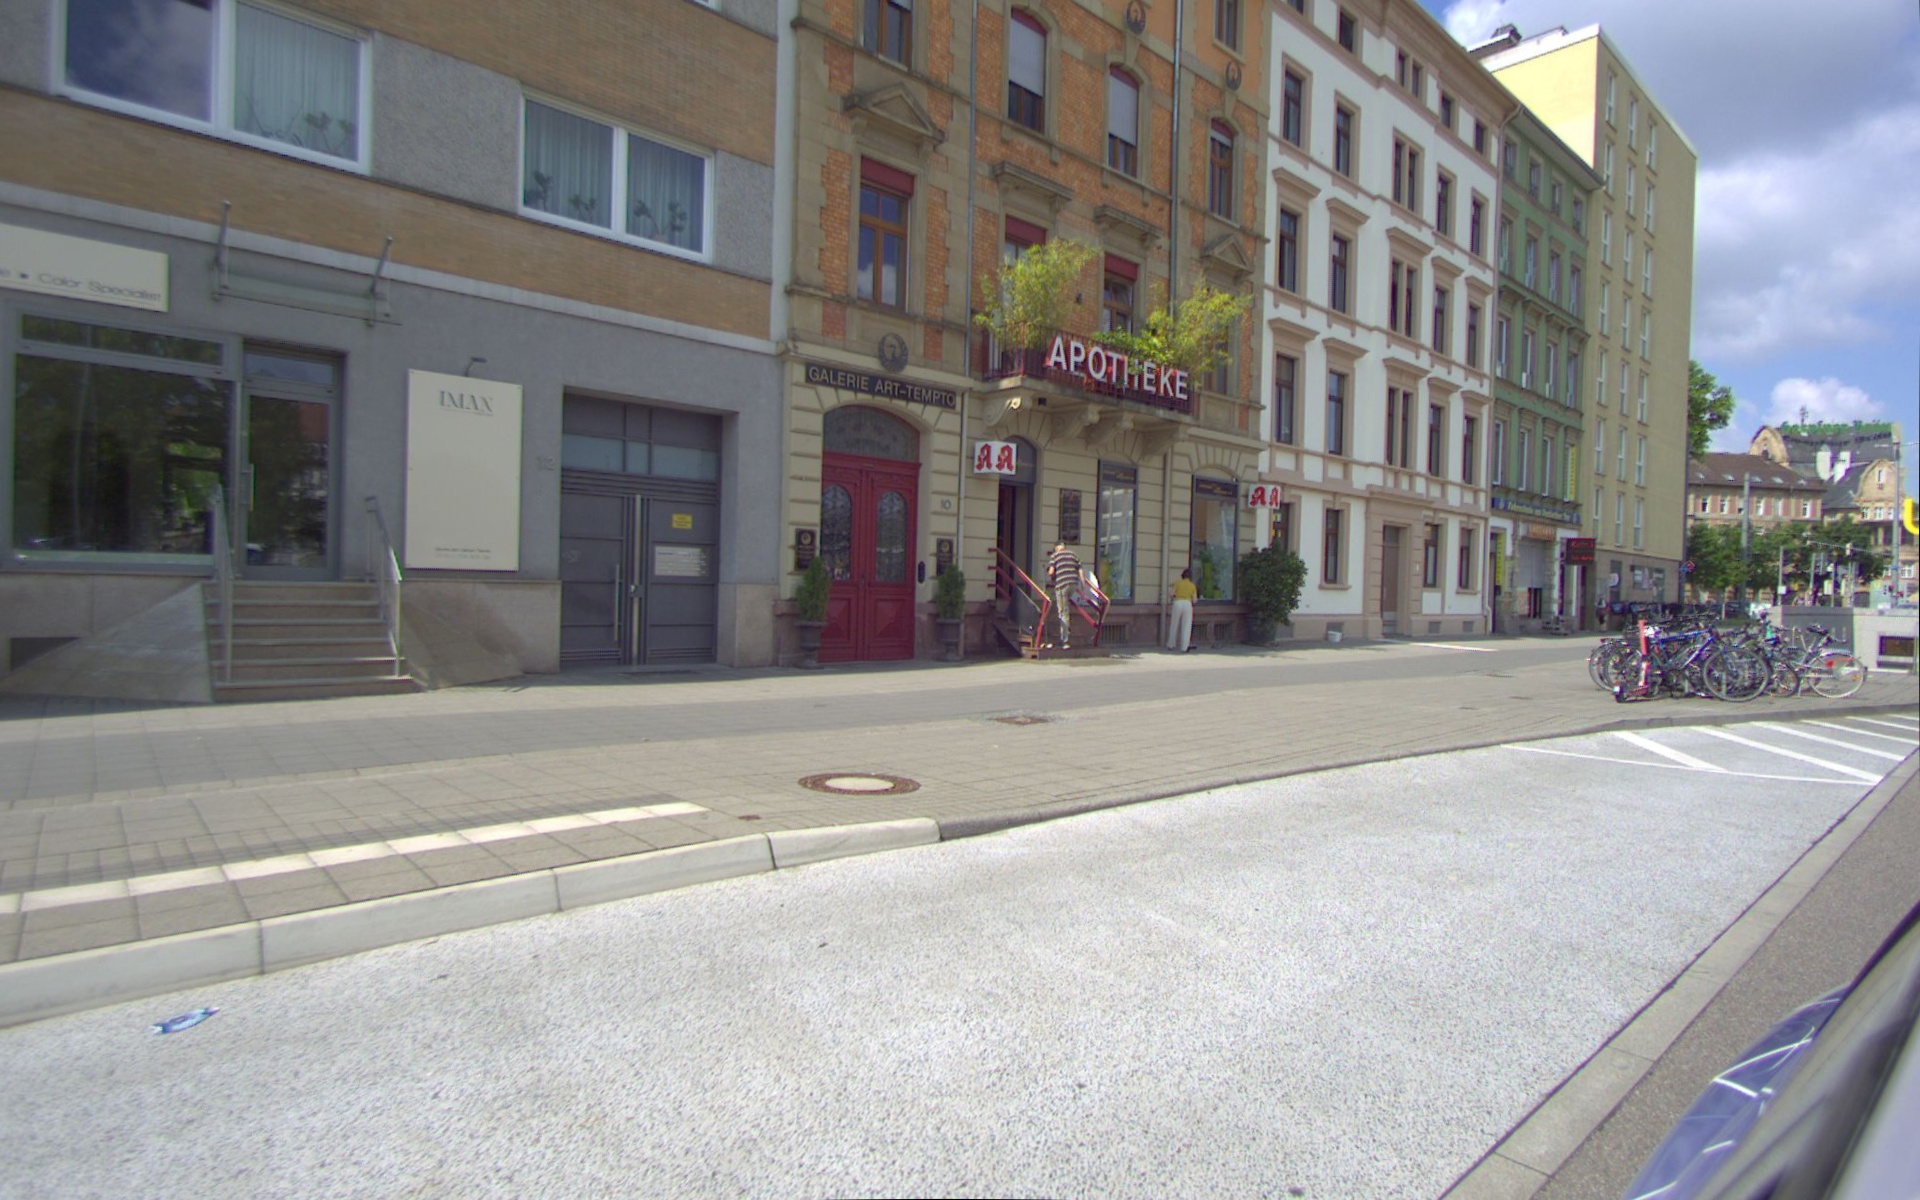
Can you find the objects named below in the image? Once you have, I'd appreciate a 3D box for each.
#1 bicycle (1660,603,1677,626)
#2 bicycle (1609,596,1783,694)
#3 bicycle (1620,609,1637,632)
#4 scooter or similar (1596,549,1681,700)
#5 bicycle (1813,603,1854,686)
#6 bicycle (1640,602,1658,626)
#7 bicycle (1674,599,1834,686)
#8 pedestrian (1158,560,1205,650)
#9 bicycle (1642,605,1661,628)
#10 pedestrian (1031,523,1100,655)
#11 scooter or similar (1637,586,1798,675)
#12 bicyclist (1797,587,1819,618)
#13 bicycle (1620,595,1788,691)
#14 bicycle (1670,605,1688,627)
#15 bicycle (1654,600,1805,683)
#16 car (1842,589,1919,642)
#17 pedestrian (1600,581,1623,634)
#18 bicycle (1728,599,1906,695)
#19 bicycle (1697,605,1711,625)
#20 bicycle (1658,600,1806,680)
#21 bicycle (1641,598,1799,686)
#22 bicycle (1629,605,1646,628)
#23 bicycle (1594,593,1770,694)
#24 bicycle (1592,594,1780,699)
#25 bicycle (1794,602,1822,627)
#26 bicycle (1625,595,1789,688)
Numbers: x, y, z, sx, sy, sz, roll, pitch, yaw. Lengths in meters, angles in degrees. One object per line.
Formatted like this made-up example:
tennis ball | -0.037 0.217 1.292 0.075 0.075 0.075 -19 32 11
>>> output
bicycle | 30.167 0.603 43.093 1.440 0.934 0.292 3 -1 -44
bicycle | 10.385 0.604 14.330 1.924 1.253 0.434 2 -1 44
bicycle | 27.712 0.867 41.949 1.440 0.934 0.292 2 0 -44
scooter or similar | 8.571 0.290 12.760 1.509 1.809 0.398 1 1 -38
bicycle | 14.110 0.725 16.359 0.439 1.253 1.902 2 -1 40
bicycle | 28.090 0.574 41.238 1.440 0.934 0.292 2 0 -44
bicycle | 12.606 0.646 16.121 0.433 1.253 1.929 4 -1 -39
pedestrian | 4.334 0.094 19.823 0.601 1.720 0.579 4 -1 -41
bicycle | 29.785 0.708 43.596 1.438 0.934 0.293 4 -1 -41
pedestrian | 1.757 -0.174 16.811 0.772 2.126 0.722 4 -1 -41
scooter or similar | 14.390 0.554 19.301 0.684 1.565 2.332 4 -1 -35
bicyclist | 41.081 0.134 49.022 0.730 1.455 0.655 1 1 -41
bicycle | 10.791 0.596 14.741 1.921 1.253 0.435 2 -1 39
bicycle | 31.462 0.685 44.295 1.439 0.934 0.293 1 1 -41
bicycle | 12.739 0.658 16.816 0.433 1.253 1.929 4 -1 -39
car | 32.432 0.540 33.437 4.517 1.668 2.058 2 1 7
pedestrian | 25.392 0.290 39.453 0.452 2.039 0.602 4 -1 -41
bicycle | 12.432 0.654 14.757 1.920 1.253 0.435 2 -1 37
bicycle | 35.070 0.686 47.715 1.440 0.894 0.292 -1 2 -44
bicycle | 13.176 0.658 17.329 0.433 1.253 1.929 4 -1 -39
bicycle | 11.830 0.632 15.821 1.919 1.253 0.435 2 -1 36
bicycle | 27.932 0.690 41.714 1.440 0.934 0.292 3 -1 -44
bicycle | 9.953 0.574 14.007 1.923 1.253 0.434 2 -1 41
bicycle | 9.626 0.590 13.481 1.975 1.253 0.435 2 -1 38
bicycle | 41.069 0.701 49.010 2.291 1.134 0.663 0 1 -42
bicycle | 11.141 0.598 15.143 1.921 1.253 0.435 2 -1 39
